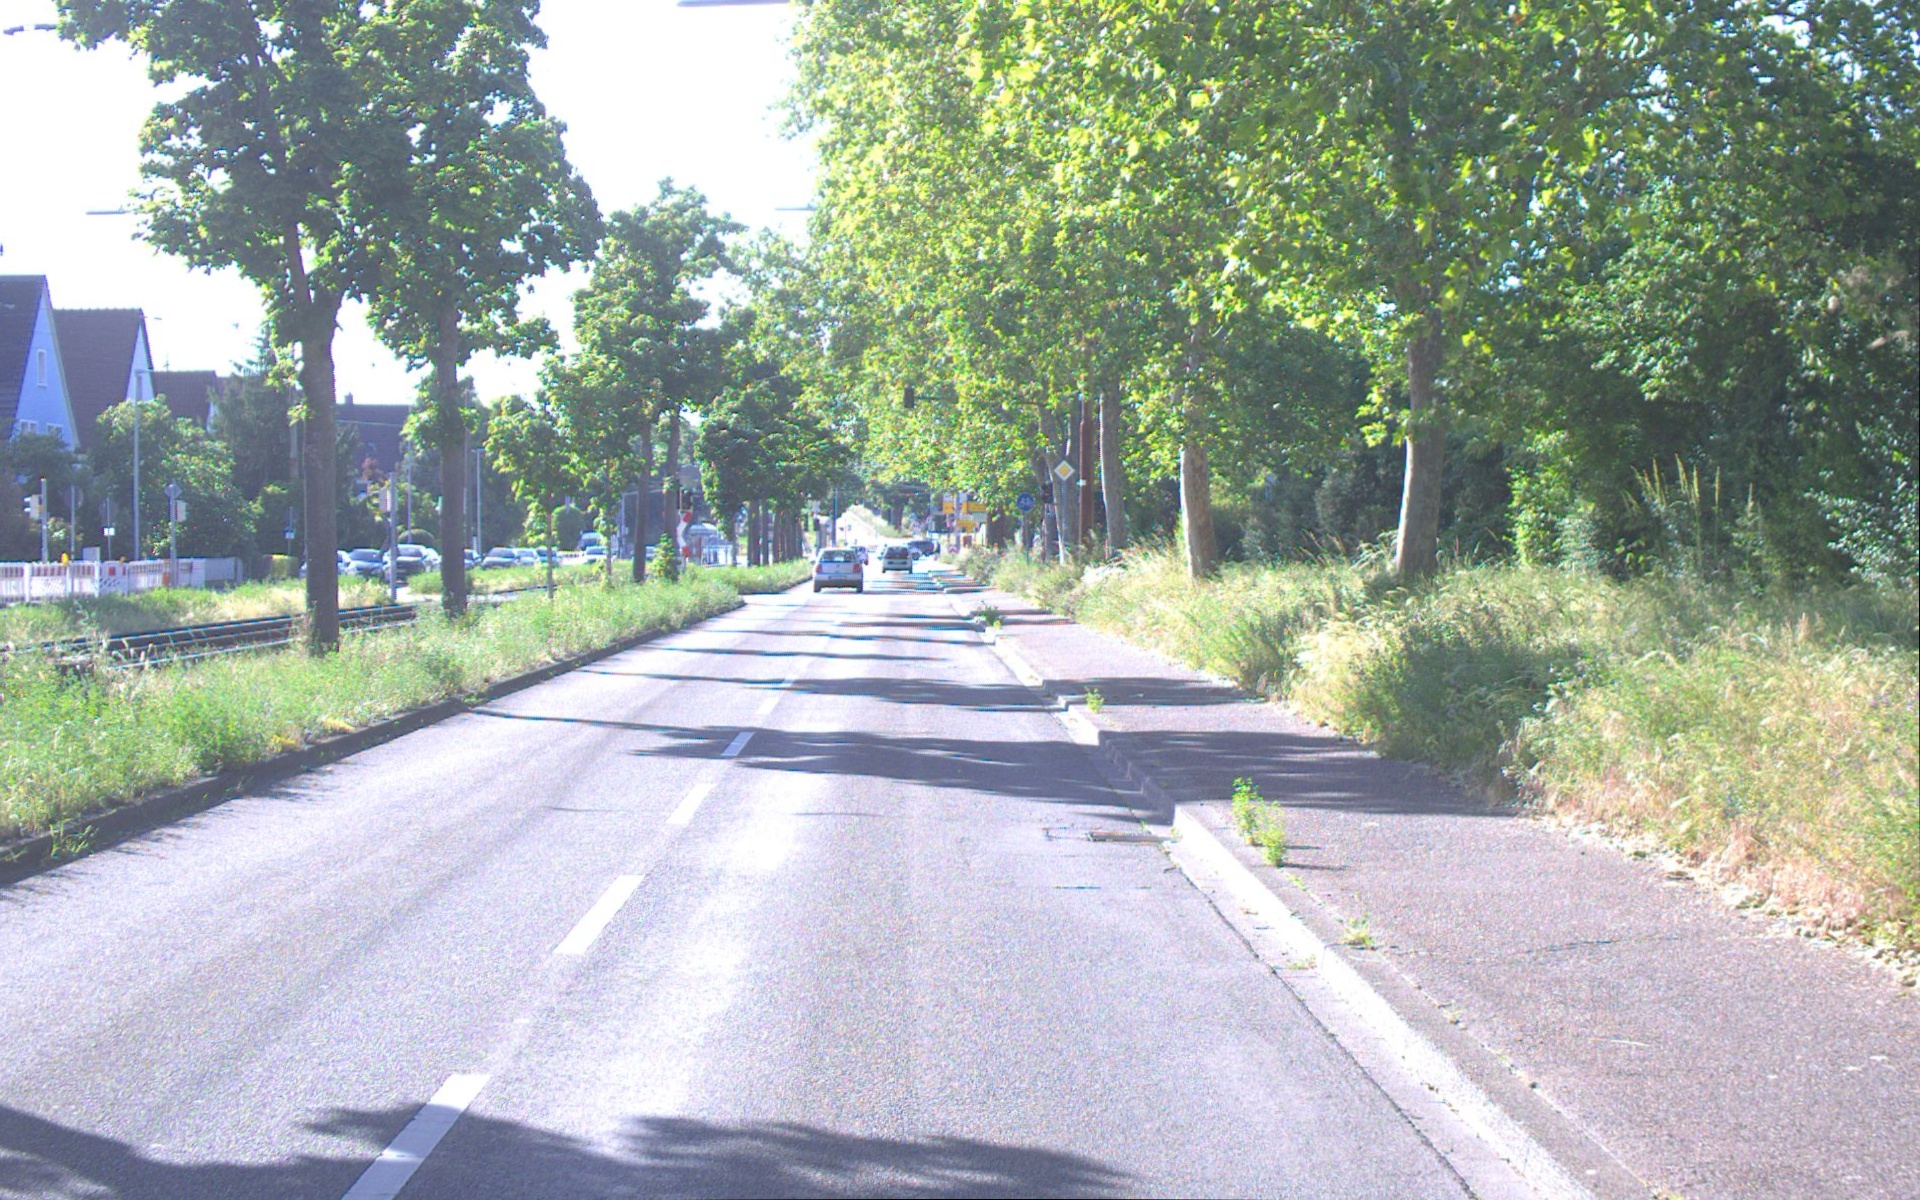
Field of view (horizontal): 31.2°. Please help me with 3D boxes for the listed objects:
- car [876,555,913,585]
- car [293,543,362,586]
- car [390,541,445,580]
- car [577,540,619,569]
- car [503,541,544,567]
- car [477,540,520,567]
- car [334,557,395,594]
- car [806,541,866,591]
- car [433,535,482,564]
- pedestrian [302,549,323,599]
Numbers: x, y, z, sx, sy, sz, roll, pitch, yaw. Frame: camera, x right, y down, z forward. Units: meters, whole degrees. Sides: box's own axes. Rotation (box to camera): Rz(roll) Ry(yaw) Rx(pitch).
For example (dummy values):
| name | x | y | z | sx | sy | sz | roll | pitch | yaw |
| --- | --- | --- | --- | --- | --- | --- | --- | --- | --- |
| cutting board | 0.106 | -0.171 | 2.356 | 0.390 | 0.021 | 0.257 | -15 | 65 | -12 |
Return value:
| name | x | y | z | sx | sy | sz | roll | pitch | yaw |
| --- | --- | --- | --- | --- | --- | --- | --- | --- | --- |
| car | -3.586 | -1.660 | 187.103 | 1.993 | 1.598 | 4.474 | 1 | 1 | -1 |
| car | -23.615 | -1.334 | 128.453 | 1.860 | 1.537 | 4.228 | 1 | 1 | -1 |
| car | -23.448 | -1.703 | 148.679 | 1.748 | 1.645 | 4.555 | 1 | 1 | -1 |
| car | -20.426 | -2.559 | 193.960 | 1.993 | 1.598 | 4.474 | 1 | 1 | -1 |
| car | -24.967 | -2.620 | 196.660 | 1.860 | 1.426 | 4.462 | 1 | 1 | -1 |
| car | -25.043 | -2.535 | 186.679 | 1.860 | 1.408 | 4.159 | 1 | 1 | -1 |
| car | -23.773 | -0.991 | 137.328 | 1.729 | 1.461 | 4.603 | 1 | 1 | -1 |
| car | -4.036 | -1.116 | 112.486 | 1.860 | 1.595 | 4.228 | 1 | 1 | -1 |
| car | -24.559 | -2.472 | 168.000 | 1.860 | 1.365 | 4.228 | 1 | 1 | -1 |
| pedestrian | -26.241 | -1.071 | 139.372 | 0.680 | 2.007 | 0.772 | 1 | 1 | -1 |
